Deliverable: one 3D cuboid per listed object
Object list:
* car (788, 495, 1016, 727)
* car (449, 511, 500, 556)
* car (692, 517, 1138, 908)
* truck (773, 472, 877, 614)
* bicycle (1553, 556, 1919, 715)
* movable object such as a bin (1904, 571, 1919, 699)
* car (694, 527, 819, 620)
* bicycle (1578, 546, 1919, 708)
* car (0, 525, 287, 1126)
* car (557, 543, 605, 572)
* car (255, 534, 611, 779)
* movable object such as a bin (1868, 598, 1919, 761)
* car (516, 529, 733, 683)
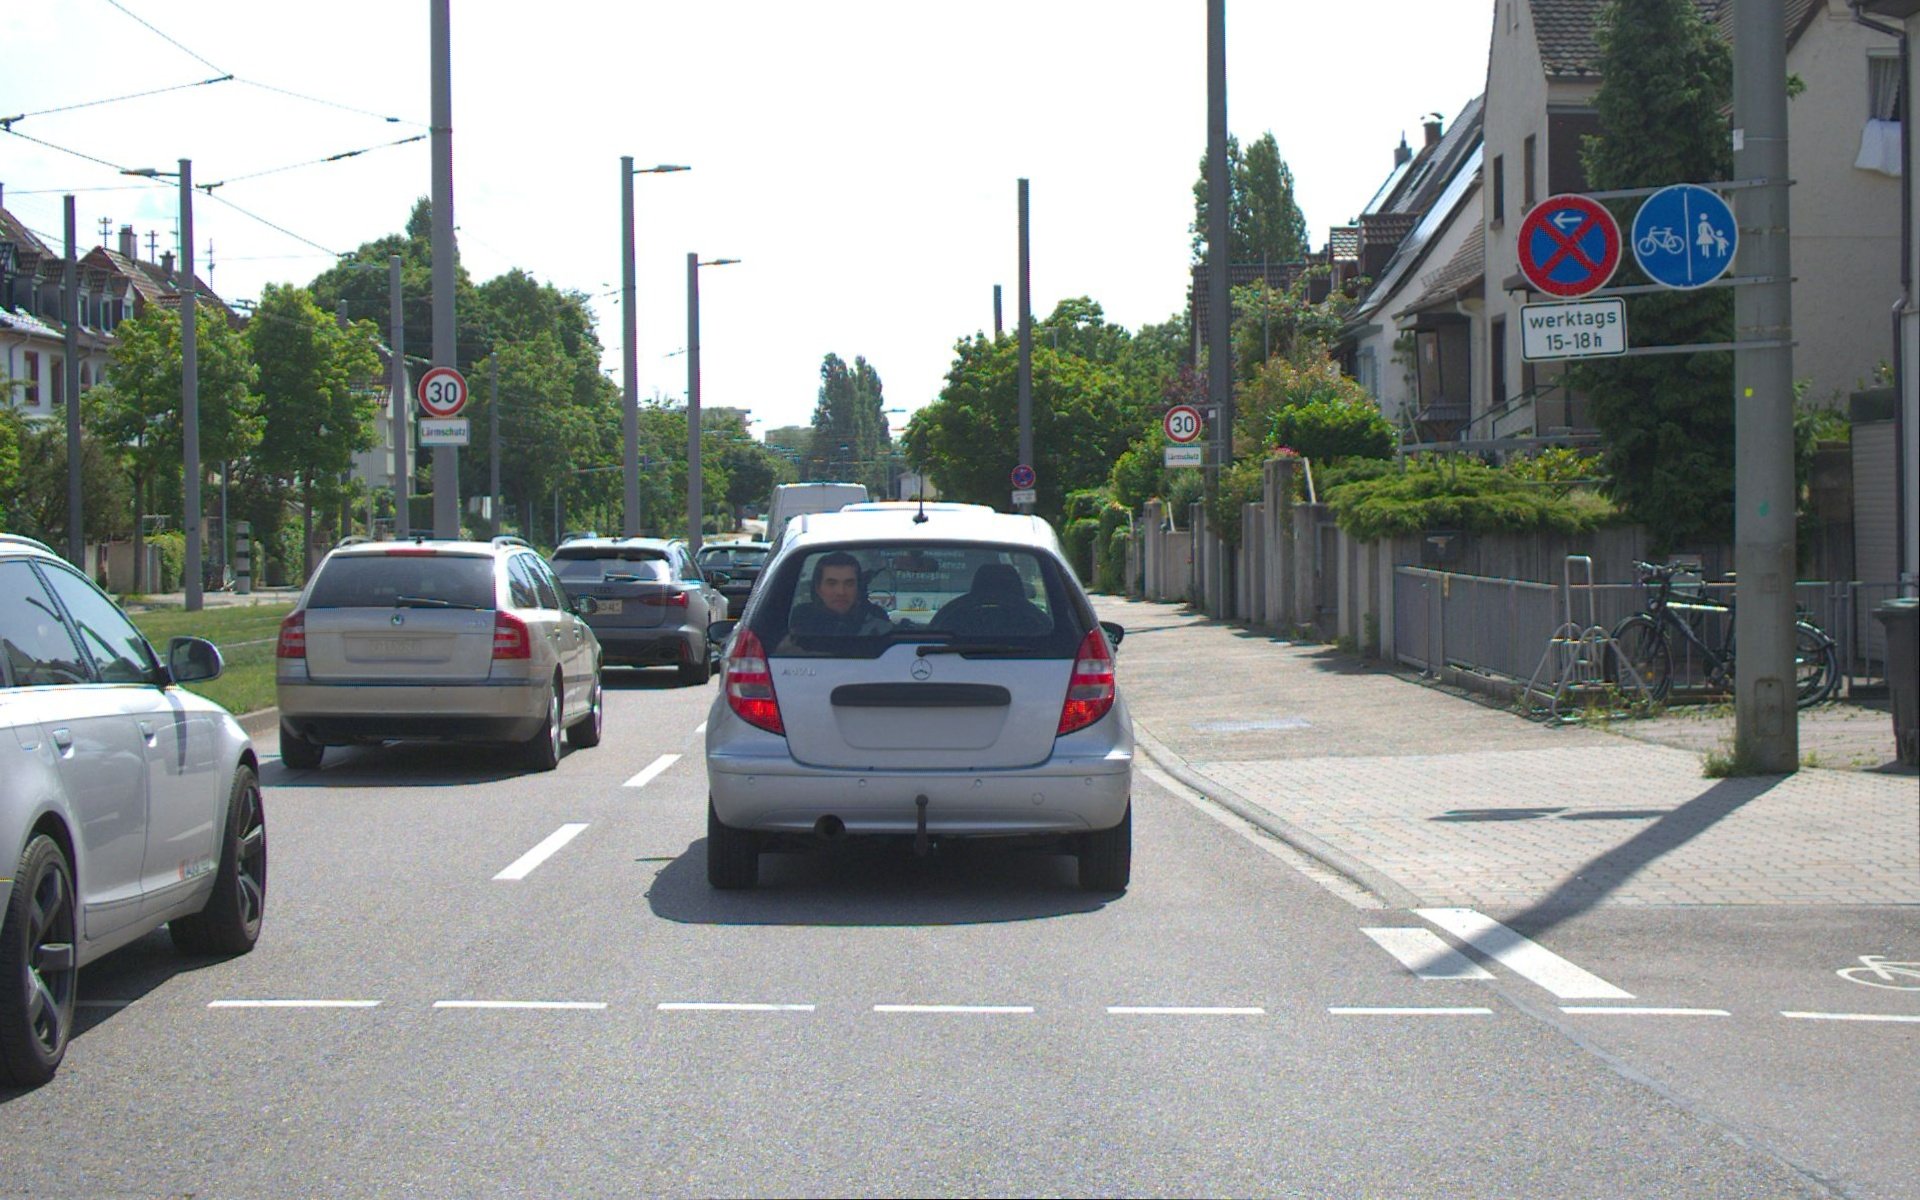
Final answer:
[{"bbox_3d":[-0.484,0.051,28.491,1.730,1.756,4.017,1,1,-1],"label":"car"},{"bbox_3d":[-25.690,-3.546,182.103,1.916,2.322,4.562,1,1,1],"label":"car"},{"bbox_3d":[-0.248,0.408,15.535,1.730,1.511,4.017,1,1,-2],"label":"car"},{"bbox_3d":[-2.572,-1.092,65.673,1.852,2.543,5.856,1,1,-2],"label":"truck"},{"bbox_3d":[5.930,0.261,26.052,2.726,1.116,0.691,-2,1,-1],"label":"bicycle"},{"bbox_3d":[7.386,0.259,25.757,0.468,0.943,0.558,-1,1,-1],"label":"movable object such as a bin"},{"bbox_3d":[-3.184,-0.437,54.488,1.852,1.383,4.515,1,1,-2],"label":"car"},{"bbox_3d":[5.963,0.189,25.307,2.661,1.101,0.786,-2,1,-1],"label":"bicycle"},{"bbox_3d":[-3.326,0.524,10.309,1.794,1.467,4.722,0,2,-1],"label":"car"},{"bbox_3d":[-20.164,-2.294,182.986,1.916,1.472,4.562,1,1,1],"label":"car"},{"bbox_3d":[-3.385,0.304,22.772,1.731,1.444,4.123,1,1,0],"label":"car"},{"bbox_3d":[5.605,0.452,19.874,0.511,0.915,0.741,0,1,0],"label":"movable object such as a bin"},{"bbox_3d":[-3.449,0.017,36.053,1.916,1.472,4.563,1,1,-1],"label":"car"}]
